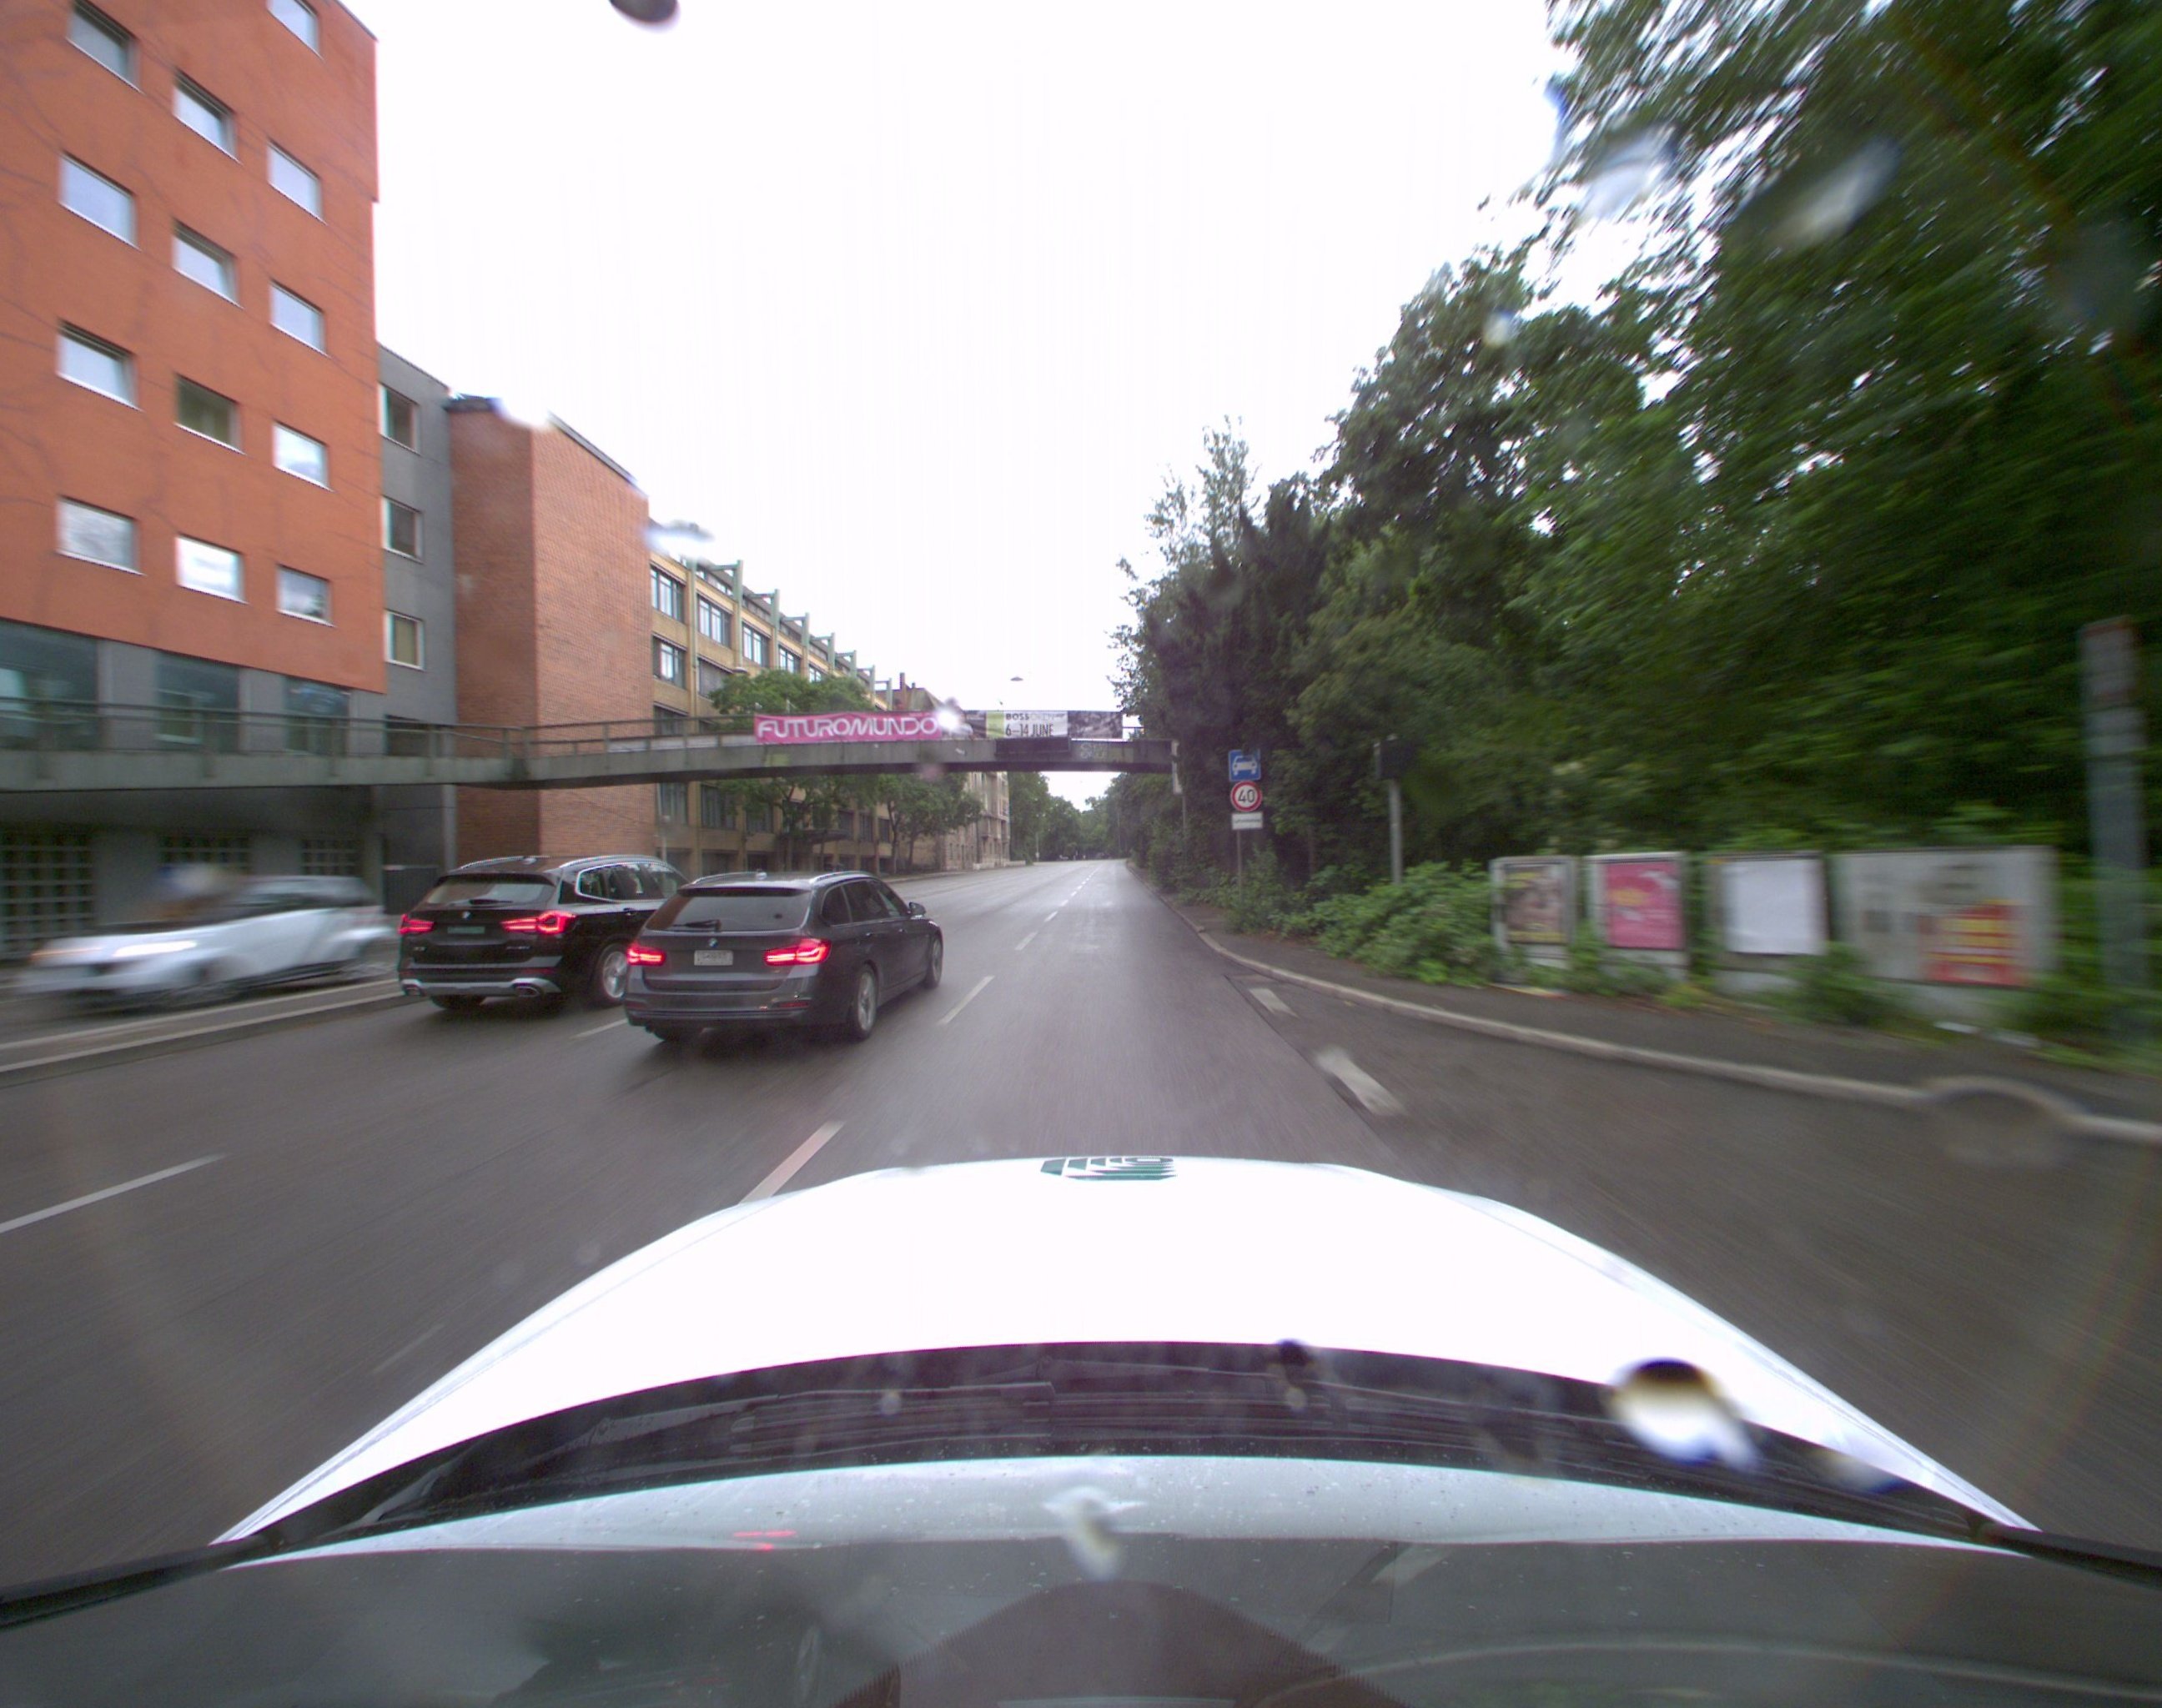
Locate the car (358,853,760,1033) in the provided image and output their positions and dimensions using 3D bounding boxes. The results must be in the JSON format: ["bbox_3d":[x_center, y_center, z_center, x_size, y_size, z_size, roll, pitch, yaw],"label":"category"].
[{"bbox_3d":[-5.795,0.868,9.895,1.802,1.656,4.447,1,-1,3],"label":"car"}]

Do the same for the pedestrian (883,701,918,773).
[{"bbox_3d":[-6.269,-4.049,28.329,0.952,2.345,1.005,-2,-1,-4],"label":"pedestrian"}]

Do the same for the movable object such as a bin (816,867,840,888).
[{"bbox_3d":[-18.473,1.719,59.388,1.277,1.518,1.274,-1,-1,2],"label":"movable object such as a bin"}]

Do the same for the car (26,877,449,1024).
[{"bbox_3d":[-10.685,1.105,10.771,1.594,1.499,3.714,-3,-1,3],"label":"car"}]

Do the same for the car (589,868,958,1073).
[{"bbox_3d":[-2.575,0.877,8.150,1.769,1.458,4.481,0,-1,3],"label":"car"}]

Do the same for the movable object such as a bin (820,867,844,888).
[{"bbox_3d":[-18.618,1.738,60.894,1.294,1.518,1.215,-1,-1,2],"label":"movable object such as a bin"}]

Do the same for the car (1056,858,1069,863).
[{"bbox_3d":[-5.136,1.816,226.125,3.571,1.547,1.615,1,-1,3],"label":"car"}]
